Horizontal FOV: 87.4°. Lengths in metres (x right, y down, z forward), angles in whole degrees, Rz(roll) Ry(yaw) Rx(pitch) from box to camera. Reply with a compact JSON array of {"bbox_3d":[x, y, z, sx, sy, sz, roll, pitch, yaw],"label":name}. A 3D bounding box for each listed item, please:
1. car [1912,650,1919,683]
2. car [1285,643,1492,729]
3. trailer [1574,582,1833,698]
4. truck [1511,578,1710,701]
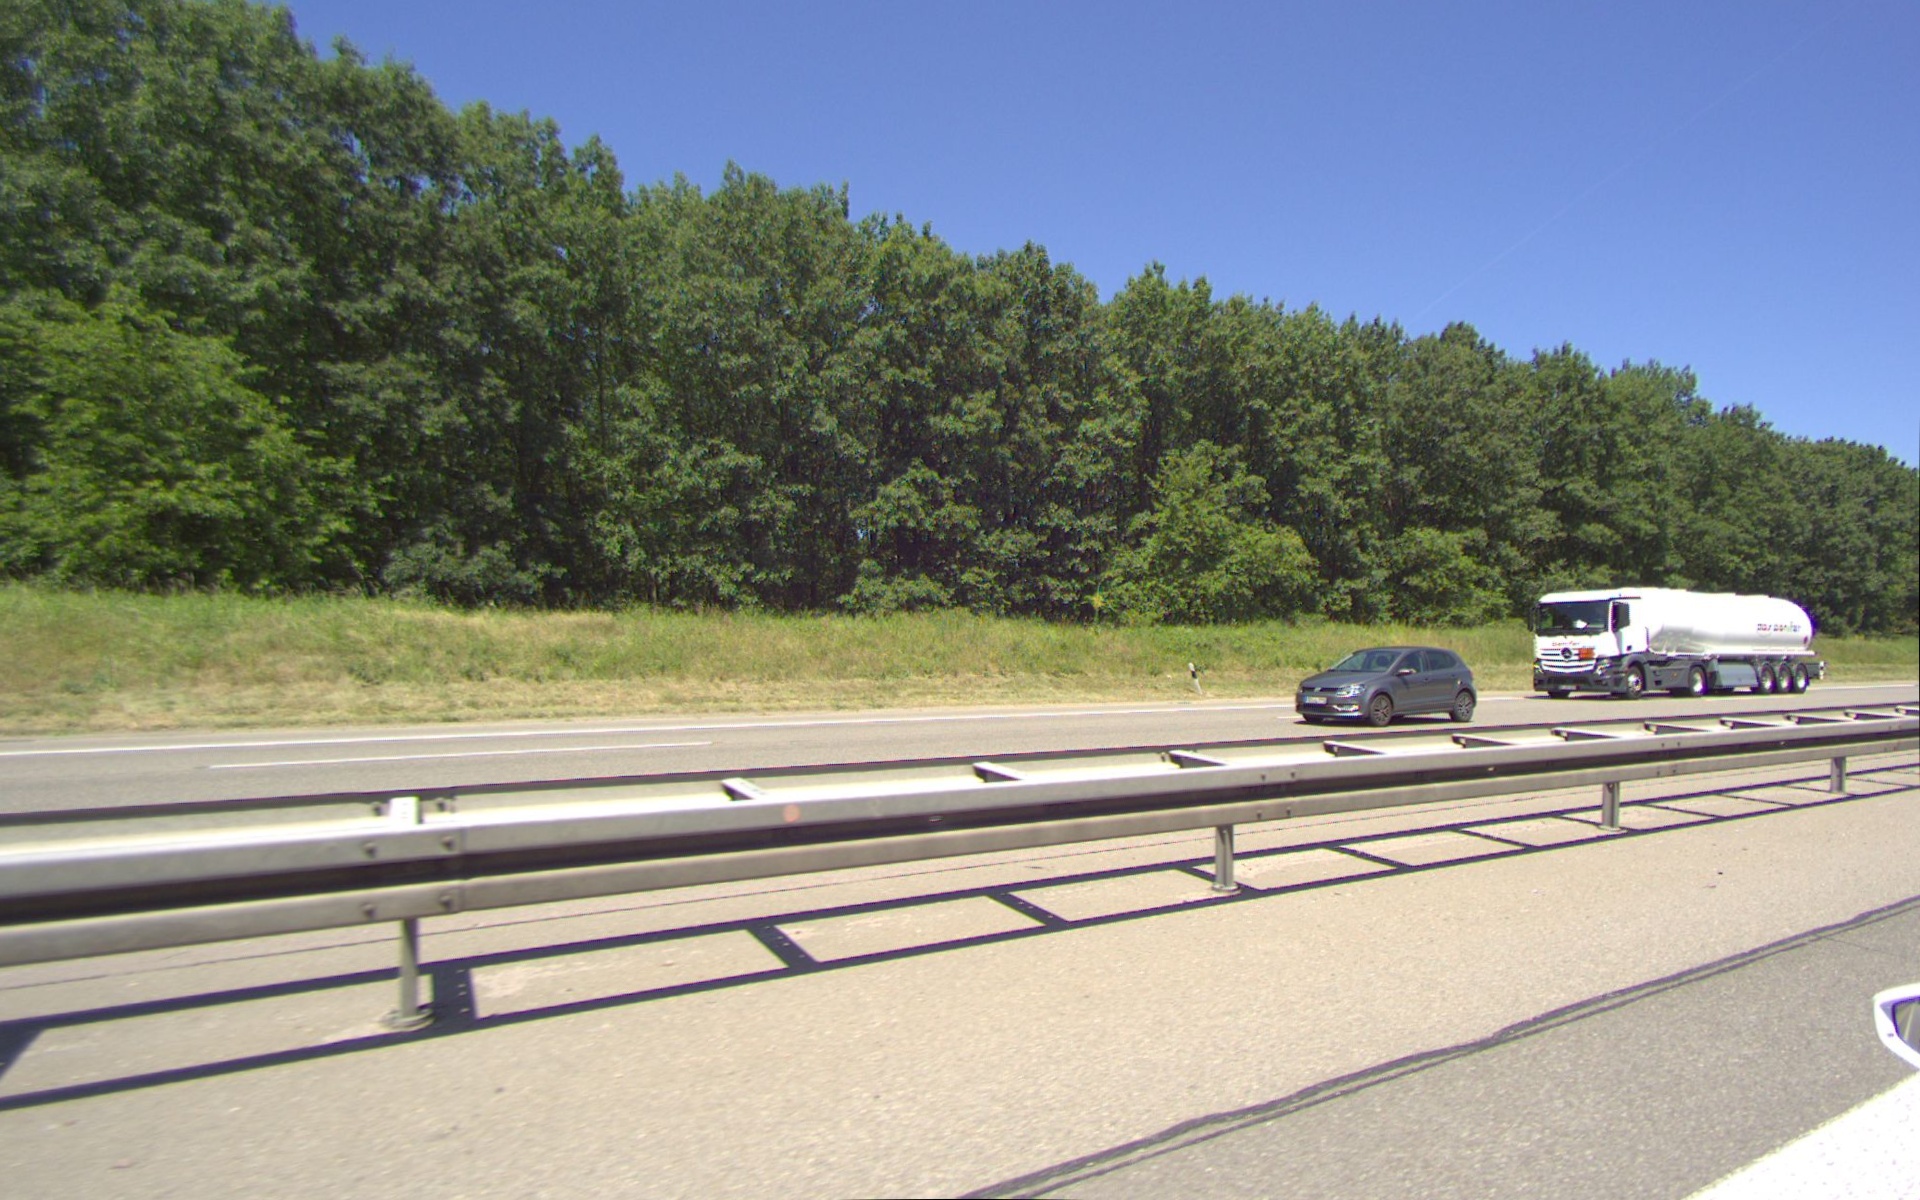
[{"bbox_3d":[45.954,3.082,46.573,3.989,1.484,1.562,2,-3,-31],"label":"car"},{"bbox_3d":[8.194,1.584,19.153,3.890,1.492,1.625,2,-3,-30],"label":"car"},{"bbox_3d":[25.601,1.422,34.286,11.660,3.479,2.670,2,-3,-30],"label":"trailer"},{"bbox_3d":[20.176,1.260,31.116,6.072,3.479,2.670,2,-3,-30],"label":"truck"}]
